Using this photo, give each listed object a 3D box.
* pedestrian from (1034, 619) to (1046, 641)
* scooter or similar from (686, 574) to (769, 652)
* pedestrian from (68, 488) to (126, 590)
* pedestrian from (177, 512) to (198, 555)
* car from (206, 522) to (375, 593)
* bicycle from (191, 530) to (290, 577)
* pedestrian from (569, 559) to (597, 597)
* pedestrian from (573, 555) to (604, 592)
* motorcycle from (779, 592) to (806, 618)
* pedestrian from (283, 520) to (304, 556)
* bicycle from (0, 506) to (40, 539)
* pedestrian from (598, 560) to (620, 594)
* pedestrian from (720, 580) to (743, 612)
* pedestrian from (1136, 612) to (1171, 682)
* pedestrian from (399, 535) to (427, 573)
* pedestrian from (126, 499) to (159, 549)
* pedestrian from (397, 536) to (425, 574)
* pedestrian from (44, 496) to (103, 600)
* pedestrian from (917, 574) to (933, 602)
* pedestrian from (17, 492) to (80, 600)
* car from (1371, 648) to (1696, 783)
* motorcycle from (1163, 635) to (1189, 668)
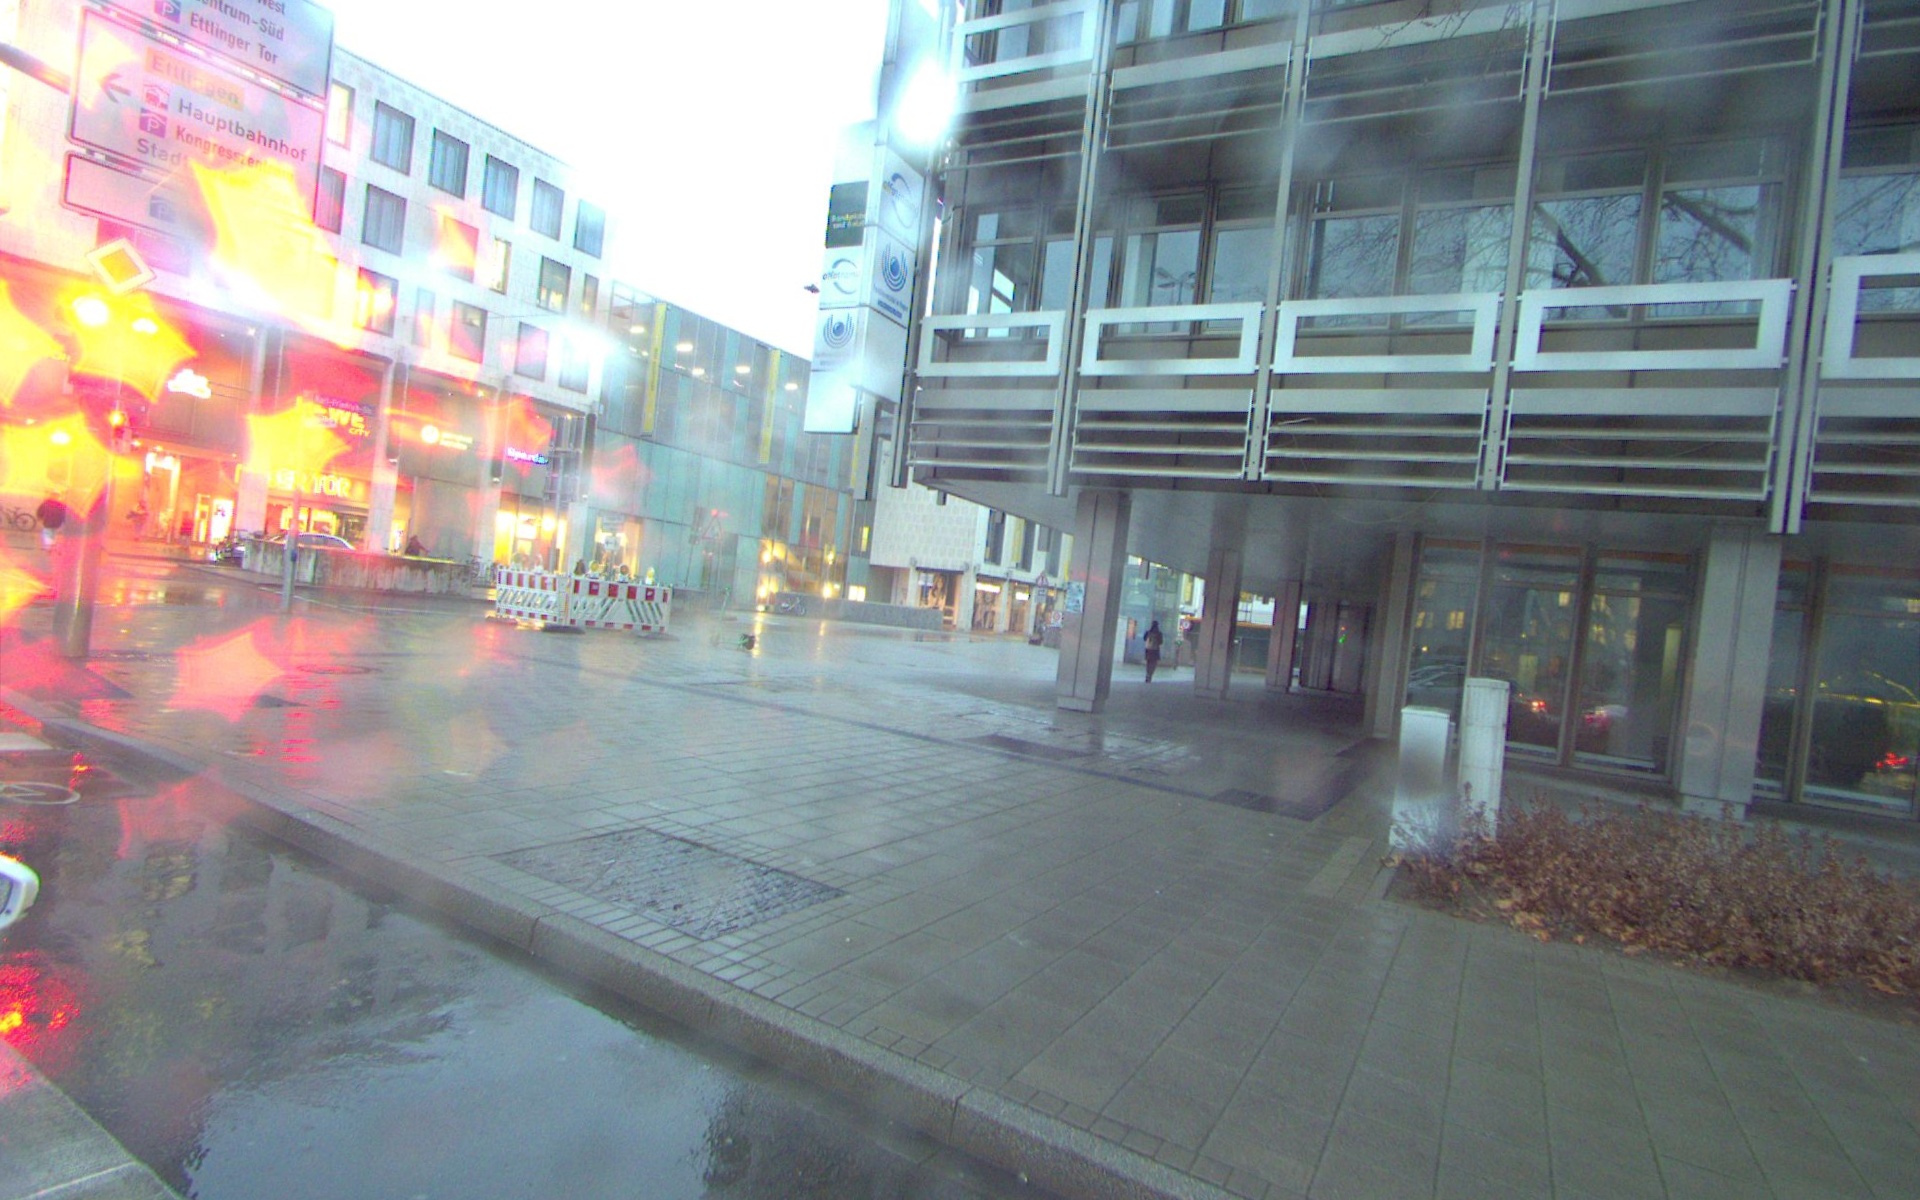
[{"bbox_3d":[6.456,2.452,81.196,0.573,1.703,0.542,6,-1,38],"label":"pedestrian"},{"bbox_3d":[-4.683,0.255,20.233,1.470,1.368,0.593,7,-1,32],"label":"scooter or similar"},{"bbox_3d":[-22.175,-1.558,25.843,0.778,2.477,0.694,7,-1,32],"label":"pedestrian"},{"bbox_3d":[-31.613,-2.723,41.181,0.480,1.683,0.454,6,1,-28],"label":"pedestrian"},{"bbox_3d":[-21.688,-1.329,32.731,1.968,1.636,3.994,6,-2,33],"label":"car"},{"bbox_3d":[-26.343,-1.688,36.884,0.941,1.375,2.718,6,-1,28],"label":"bicycle"},{"bbox_3d":[-17.965,-1.056,47.938,0.770,1.703,0.742,6,-1,38],"label":"pedestrian"},{"bbox_3d":[-18.929,-1.331,51.220,0.810,1.703,1.032,6,-1,31],"label":"pedestrian"},{"bbox_3d":[-10.154,0.294,61.173,0.585,1.368,1.491,7,-1,36],"label":"motorcycle"},{"bbox_3d":[-34.219,-3.188,51.673,0.729,1.740,0.733,6,1,-31],"label":"pedestrian"},{"bbox_3d":[-36.457,-2.995,38.537,0.515,1.082,1.651,7,-2,28],"label":"bicycle"},{"bbox_3d":[-19.620,-1.283,56.246,0.786,1.760,0.767,6,1,-43],"label":"pedestrian"},{"bbox_3d":[-13.100,-0.252,57.679,0.770,1.703,0.742,6,-1,38],"label":"pedestrian"},{"bbox_3d":[5.212,1.275,27.055,0.678,1.796,0.660,7,-1,16],"label":"pedestrian"},{"bbox_3d":[-26.513,-2.217,48.776,0.519,1.705,0.894,6,0,31],"label":"pedestrian"},{"bbox_3d":[-35.583,-3.292,43.806,0.688,2.038,0.845,7,1,40],"label":"pedestrian"},{"bbox_3d":[-25.984,-2.133,47.624,0.770,1.703,0.742,6,-1,38],"label":"pedestrian"},{"bbox_3d":[-22.209,-1.295,25.216,0.745,2.469,0.691,7,-1,31],"label":"pedestrian"},{"bbox_3d":[-2.239,-0.775,64.096,0.573,1.703,0.542,6,-1,38],"label":"pedestrian"},{"bbox_3d":[-22.035,-1.307,24.335,0.745,2.469,0.716,7,-1,31],"label":"pedestrian"},{"bbox_3d":[8.577,1.646,15.275,3.935,1.327,1.994,6,1,33],"label":"car"},{"bbox_3d":[9.892,2.368,46.002,0.584,1.368,1.493,7,-1,29],"label":"motorcycle"}]
